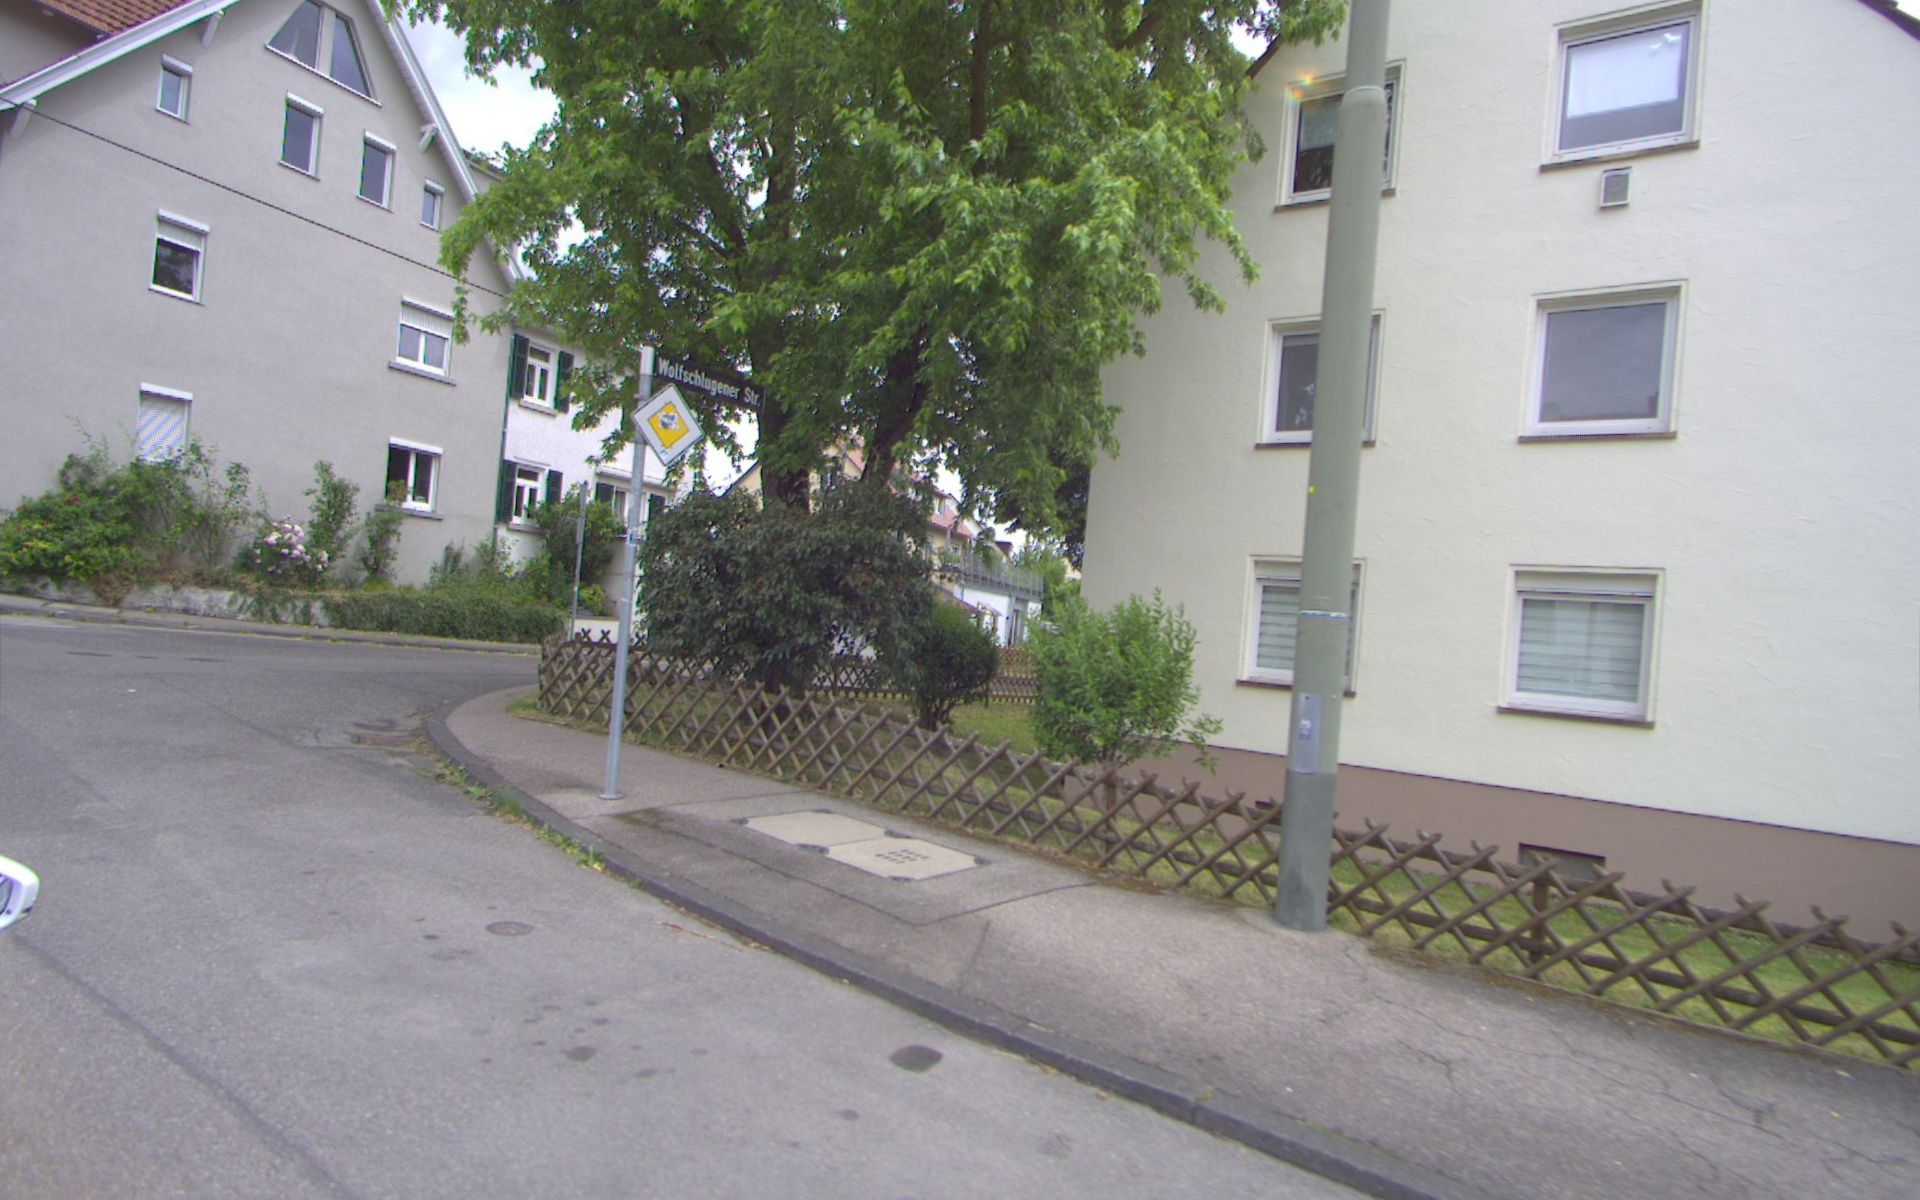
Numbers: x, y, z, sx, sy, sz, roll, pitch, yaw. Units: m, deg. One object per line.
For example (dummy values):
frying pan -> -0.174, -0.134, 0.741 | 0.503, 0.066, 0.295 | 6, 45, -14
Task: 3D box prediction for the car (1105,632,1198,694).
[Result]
car -> 7.302, 2.406, 38.072 | 1.967, 1.973, 3.993 | 7, -1, 31
